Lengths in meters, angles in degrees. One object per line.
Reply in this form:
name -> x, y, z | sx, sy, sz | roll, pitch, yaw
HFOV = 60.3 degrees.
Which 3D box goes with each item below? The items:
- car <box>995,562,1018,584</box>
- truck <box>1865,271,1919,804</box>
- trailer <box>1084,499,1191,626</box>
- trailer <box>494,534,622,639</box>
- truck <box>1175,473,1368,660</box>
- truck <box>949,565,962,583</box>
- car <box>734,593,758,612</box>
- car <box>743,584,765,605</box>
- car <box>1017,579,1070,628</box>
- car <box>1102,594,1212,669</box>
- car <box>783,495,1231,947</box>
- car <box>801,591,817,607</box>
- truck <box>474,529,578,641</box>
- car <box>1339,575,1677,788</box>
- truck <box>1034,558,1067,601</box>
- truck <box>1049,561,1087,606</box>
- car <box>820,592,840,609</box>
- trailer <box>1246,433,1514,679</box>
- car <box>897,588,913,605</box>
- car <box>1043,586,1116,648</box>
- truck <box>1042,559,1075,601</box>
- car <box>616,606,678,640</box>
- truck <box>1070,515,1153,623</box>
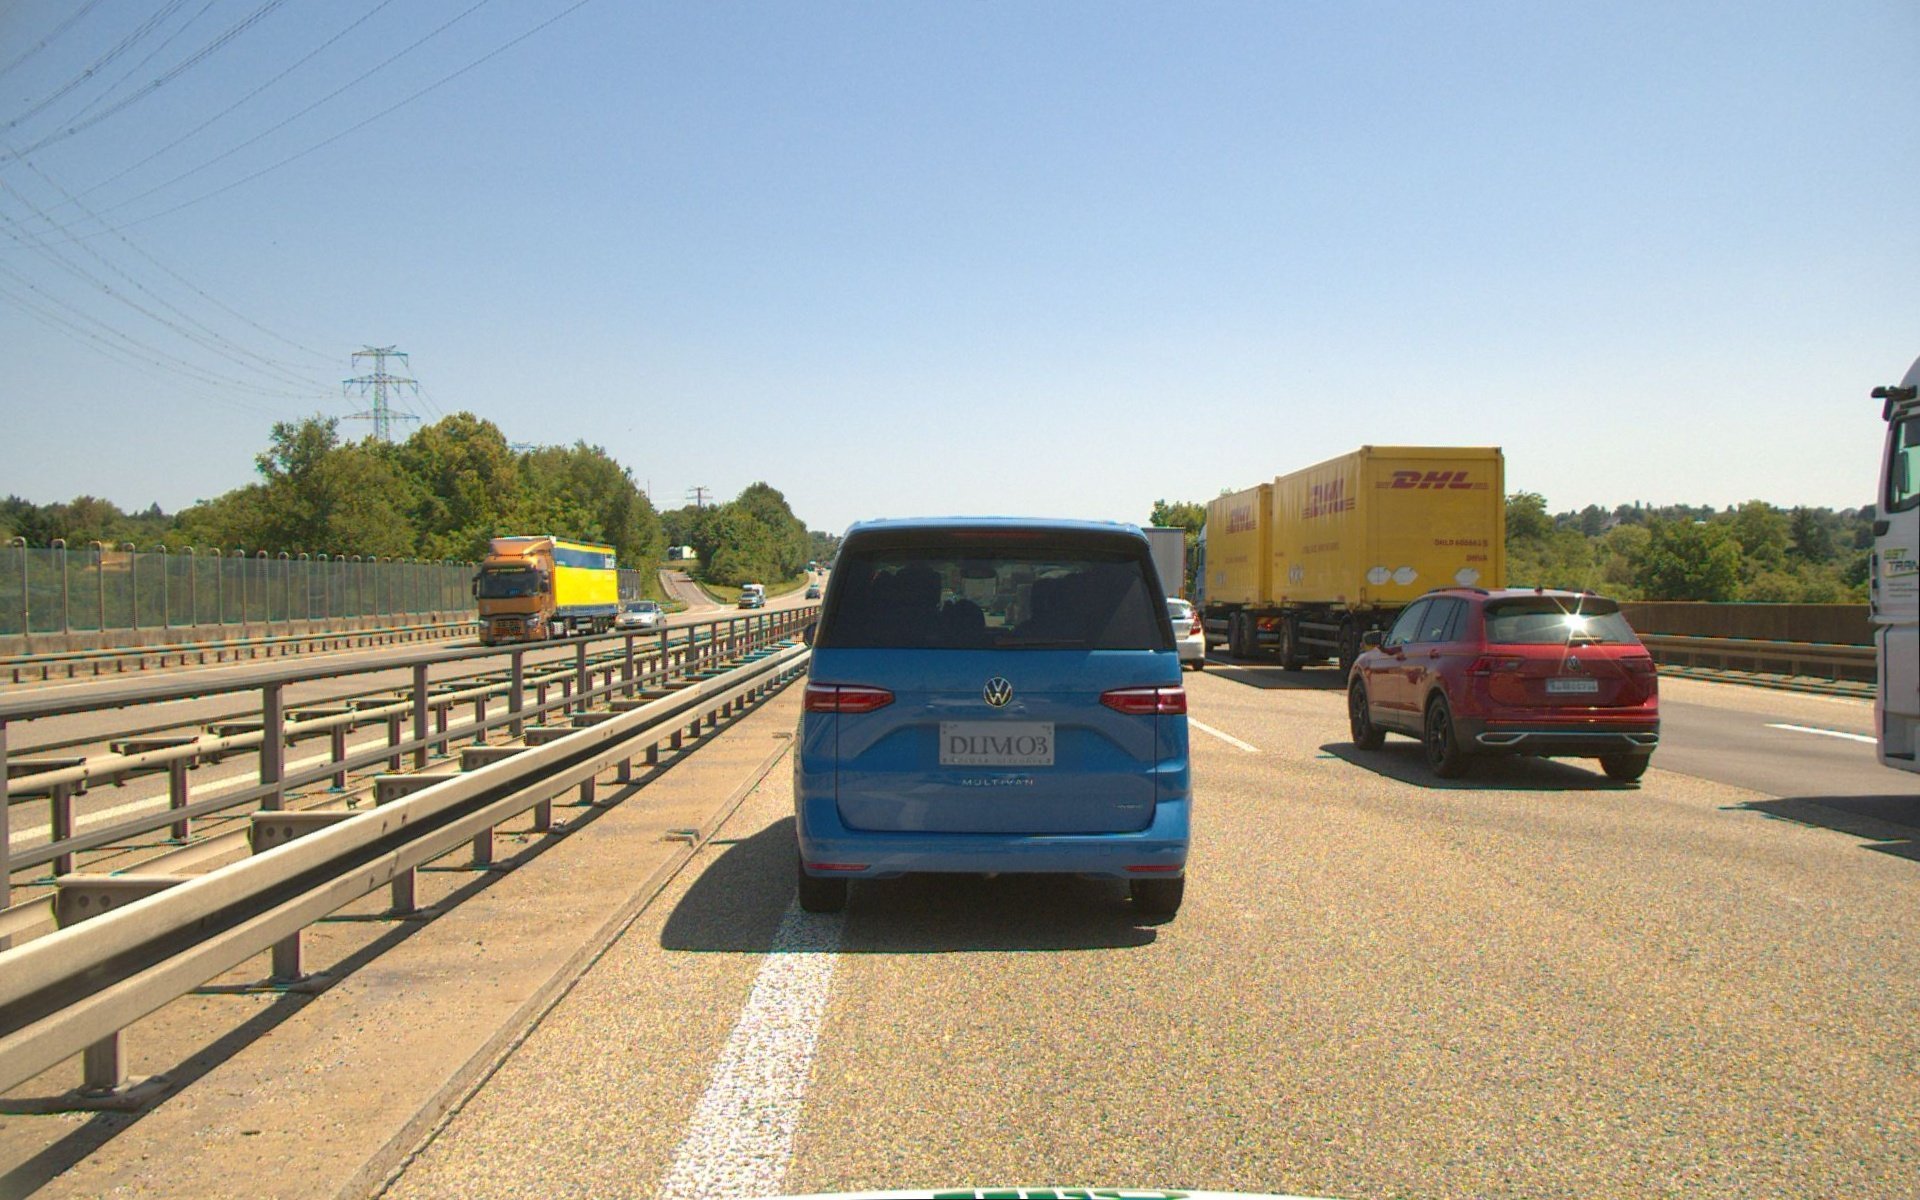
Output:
car -> 4.470, -2.573, 159.293 | 1.953, 2.049, 3.999 | 1, 0, -1
truck -> 8.710, -0.479, 7.828 | 2.794, 4.003, 10.606 | 1, 0, -2
trailer -> 7.053, -1.362, 67.278 | 2.965, 4.692, 10.922 | 1, 0, -1
trailer -> -17.445, -0.485, 72.917 | 2.575, 4.186, 14.011 | 0, 0, -2
truck -> 7.656, -0.721, 42.165 | 2.645, 4.159, 9.935 | 1, 0, -2
truck -> -0.740, -4.052, 257.338 | 1.953, 2.630, 4.551 | 1, 0, -1
car -> -20.783, 0.242, 160.636 | 1.805, 1.782, 3.942 | 1, 0, -1
car -> -20.673, -0.569, 166.111 | 1.805, 2.077, 3.942 | 1, 0, -1
car -> 3.489, 0.136, 69.409 | 1.922, 1.970, 3.931 | 1, 0, -1
car -> 4.180, 0.648, 35.635 | 1.778, 1.496, 3.930 | 1, 0, -2
car -> 0.165, 0.531, 9.069 | 1.891, 1.906, 3.999 | 1, 0, -1
car -> -19.917, -0.179, 218.358 | 1.805, 2.077, 3.942 | 1, 0, -1
truck -> -17.295, -0.549, 66.306 | 2.618, 4.258, 6.285 | -1, -1, -2
car -> 4.952, 0.651, 15.596 | 1.674, 1.708, 4.284 | -1, 0, -1
truck -> 5.647, -1.228, 103.690 | 1.706, 2.593, 4.209 | 1, 0, -1
truck -> 6.139, -0.925, 94.498 | 1.761, 2.492, 4.503 | 1, 0, -1
car -> -13.935, 0.089, 177.485 | 1.805, 1.782, 3.942 | 1, 0, -1
trailer -> 7.949, -0.721, 32.687 | 2.629, 4.159, 8.976 | 1, 0, -3
car -> -6.768, -0.414, 204.275 | 1.953, 2.049, 3.999 | 1, 0, -1
car -> 3.450, 0.499, 48.419 | 1.778, 1.708, 3.931 | 1, 0, -1
truck -> 6.454, -1.310, 108.628 | 1.760, 2.641, 4.304 | 1, 0, -1
car -> -13.243, 0.950, 70.179 | 1.654, 1.326, 4.013 | -3, 0, 2
truck -> 6.927, -1.327, 76.712 | 2.965, 4.692, 7.919 | 1, 0, -1
